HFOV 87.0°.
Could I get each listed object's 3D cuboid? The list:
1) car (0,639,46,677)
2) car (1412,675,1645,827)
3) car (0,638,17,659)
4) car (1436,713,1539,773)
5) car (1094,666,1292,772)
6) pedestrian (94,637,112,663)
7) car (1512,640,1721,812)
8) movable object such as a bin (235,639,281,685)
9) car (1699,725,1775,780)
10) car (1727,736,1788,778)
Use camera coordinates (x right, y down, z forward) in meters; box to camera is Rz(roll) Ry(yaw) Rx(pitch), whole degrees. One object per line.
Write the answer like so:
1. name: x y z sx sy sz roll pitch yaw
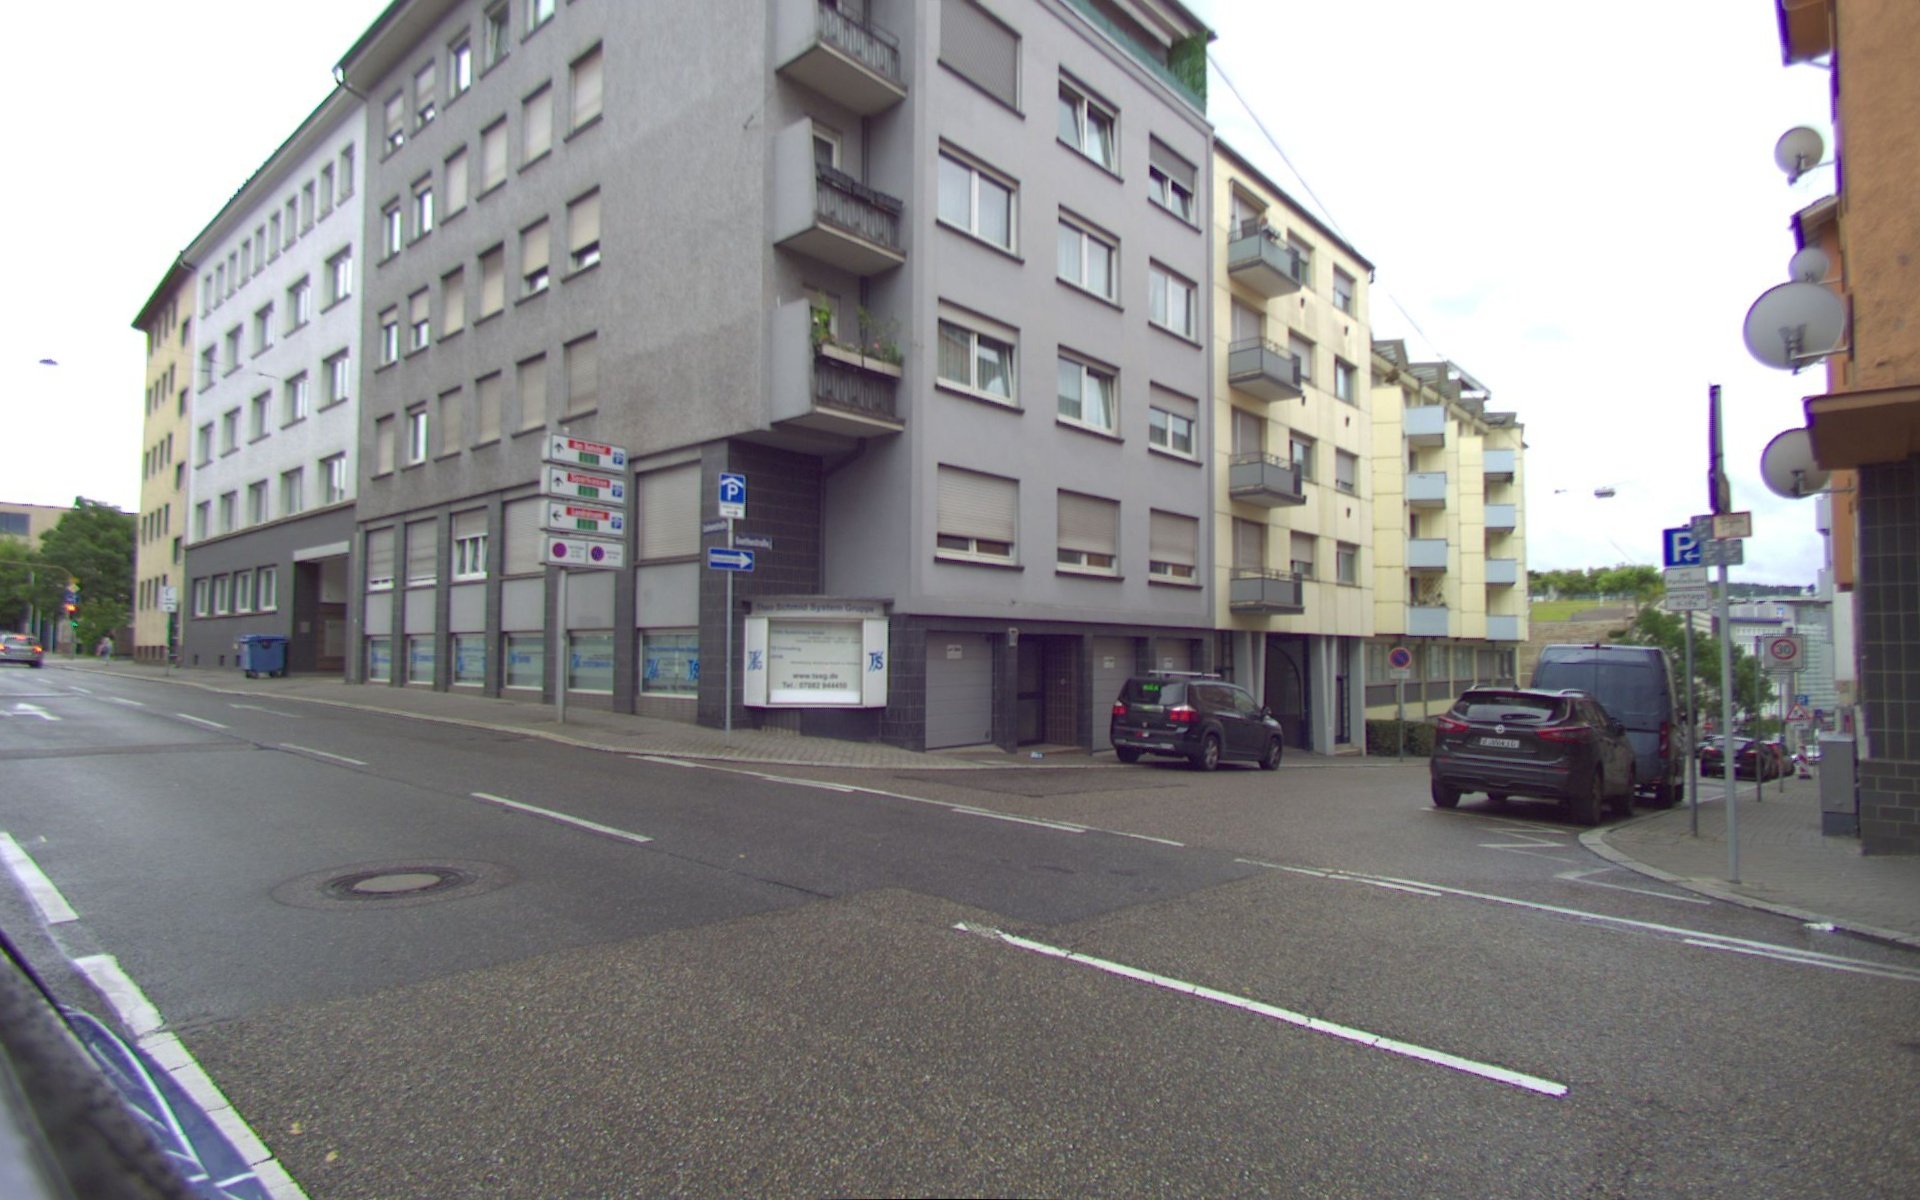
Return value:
1. car: -42.846 2.590 45.675 4.371 1.602 1.858 -1 -3 41
2. car: 7.517 1.946 13.180 1.842 1.589 4.098 -1 -8 41
3. car: -83.442 4.208 86.575 2.001 1.759 3.941 -1 0 45
4. car: 15.678 4.240 30.000 1.840 1.559 3.945 -1 -8 41
5. car: 4.462 2.263 18.929 1.794 1.700 4.186 -1 -8 41
6. pedestrian: -39.905 2.338 47.131 0.574 1.158 0.407 6 -5 -40
7. car: 11.679 2.194 17.771 2.249 2.481 5.975 -1 -7 41
8. movable object such as a bin: -21.789 1.912 31.399 1.096 1.343 0.933 -2 0 41
9. car: 27.103 5.322 35.256 1.817 1.688 3.998 -1 -8 41
10. car: 32.386 6.380 41.069 1.722 1.506 3.998 -1 -8 41
